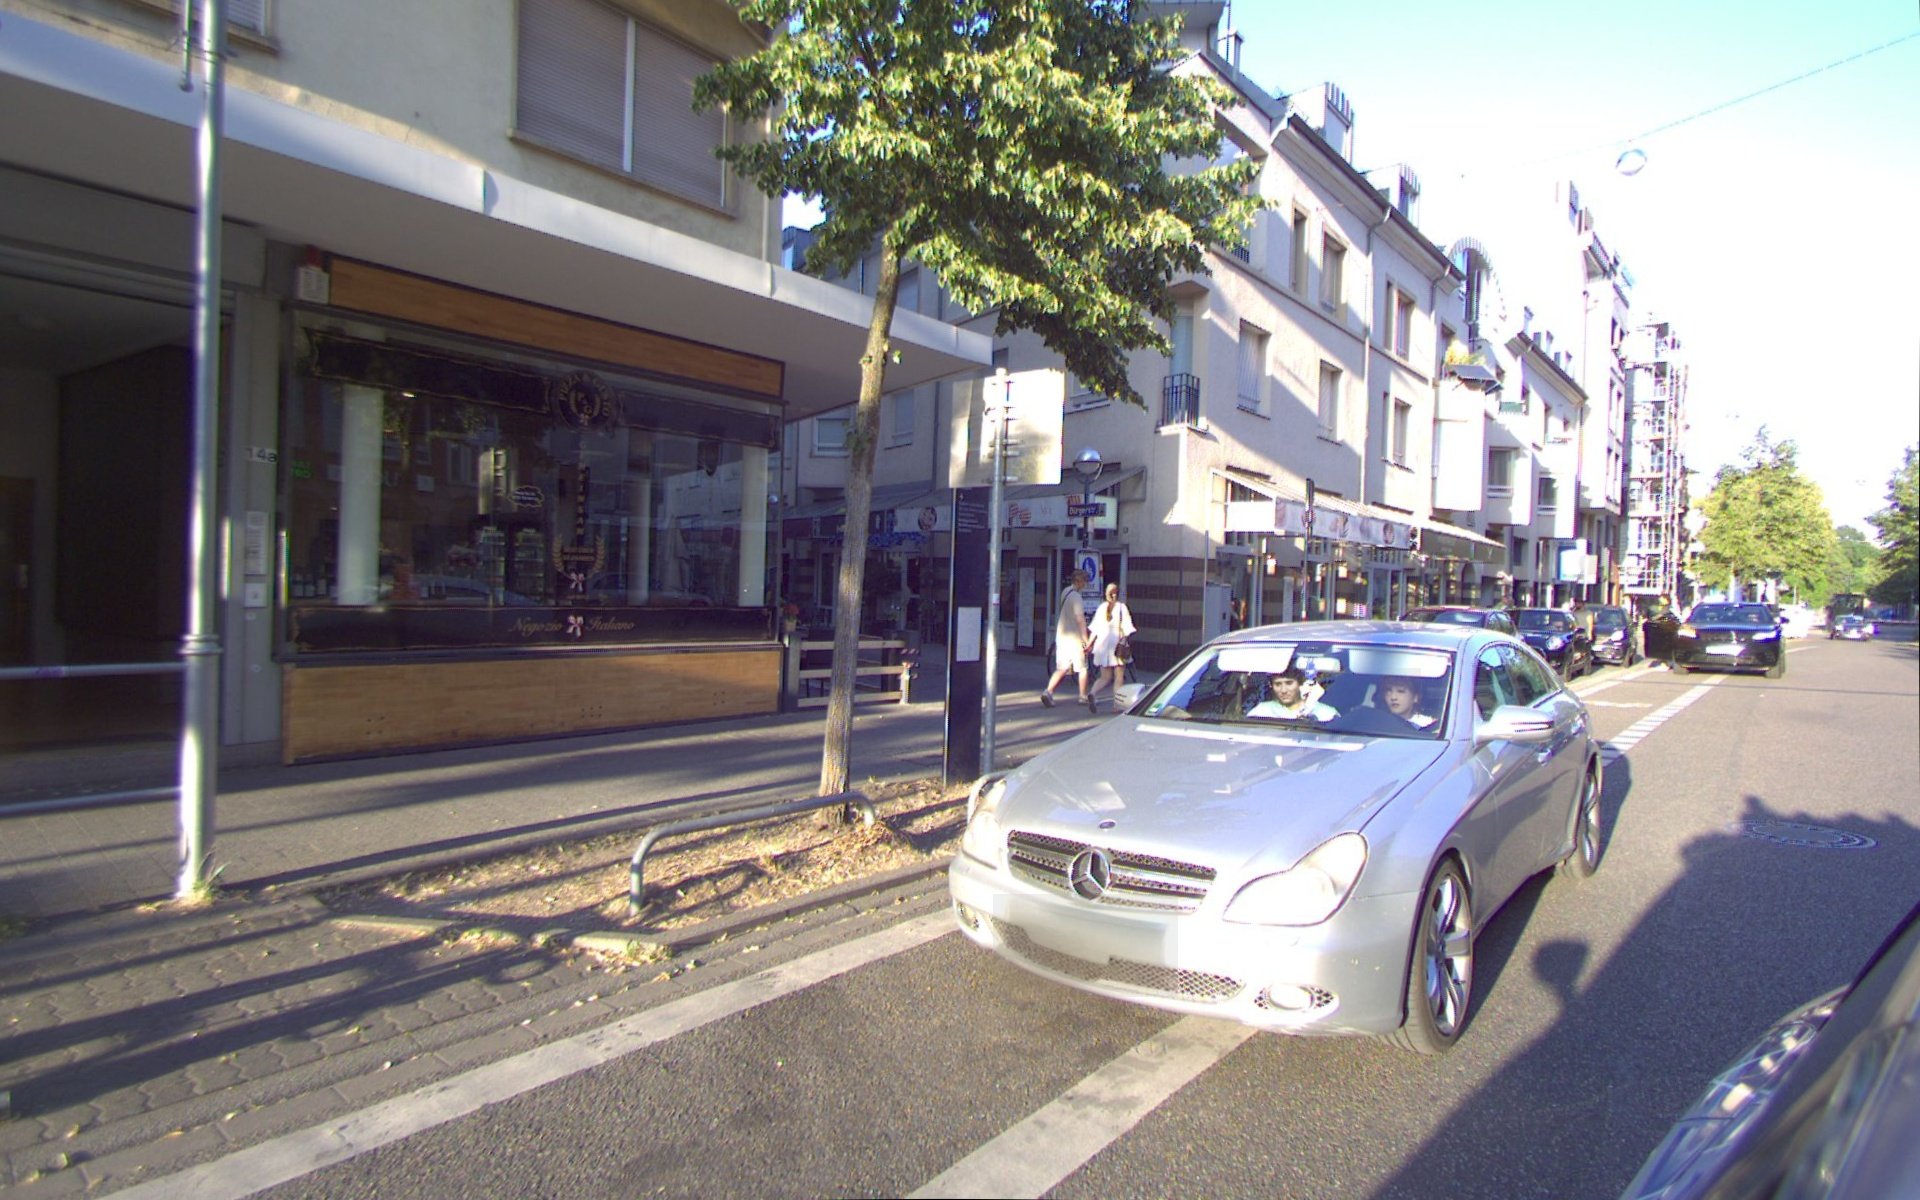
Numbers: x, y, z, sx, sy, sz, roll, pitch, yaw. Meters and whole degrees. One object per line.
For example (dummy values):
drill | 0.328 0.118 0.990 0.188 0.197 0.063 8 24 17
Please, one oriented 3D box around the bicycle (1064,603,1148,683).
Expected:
bicycle | 2.249 0.623 15.416 0.290 1.118 1.859 2 1 41

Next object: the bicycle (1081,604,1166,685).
bicycle | 2.478 0.638 15.200 0.320 1.118 1.851 2 1 41

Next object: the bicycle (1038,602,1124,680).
bicycle | 1.905 0.603 15.718 0.320 1.118 1.851 2 1 41

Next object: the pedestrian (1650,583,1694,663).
pedestrian | 17.219 0.548 24.475 0.776 1.907 0.660 -2 -2 41

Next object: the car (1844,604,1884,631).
car | 52.237 0.962 58.539 1.616 1.492 3.634 0 0 41

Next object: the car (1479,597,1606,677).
car | 12.207 0.701 21.101 1.615 1.452 3.868 3 2 40

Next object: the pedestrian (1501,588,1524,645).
pedestrian | 17.843 0.517 32.688 0.574 1.823 0.443 0 0 42

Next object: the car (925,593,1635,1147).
car | 1.996 0.699 5.005 1.740 1.418 4.572 2 2 40

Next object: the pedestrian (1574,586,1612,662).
pedestrian | 15.210 0.557 24.319 0.629 1.771 0.660 3 2 41

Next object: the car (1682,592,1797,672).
car | 17.925 0.671 23.197 1.884 1.656 4.165 0 0 41

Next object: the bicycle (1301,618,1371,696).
bicycle | 5.551 0.811 14.893 0.314 1.059 1.638 3 2 43

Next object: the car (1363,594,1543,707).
car | 7.761 0.689 15.756 1.587 1.451 3.868 4 2 40

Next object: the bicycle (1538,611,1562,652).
bicycle | 16.329 0.862 27.993 0.295 1.099 1.441 1 1 41

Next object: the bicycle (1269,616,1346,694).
bicycle | 5.201 0.786 15.065 0.314 1.059 1.853 3 2 43

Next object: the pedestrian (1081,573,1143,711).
pedestrian | 1.851 0.493 12.347 0.519 1.612 0.402 5 3 41

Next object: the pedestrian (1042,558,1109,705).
pedestrian | 1.457 0.378 12.772 0.543 1.779 0.495 5 3 41

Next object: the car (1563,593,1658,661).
car | 17.168 0.660 26.641 1.615 1.612 3.868 2 1 40

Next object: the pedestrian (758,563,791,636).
pedestrian | -4.470 -0.026 24.372 0.688 1.696 0.799 2 2 -13

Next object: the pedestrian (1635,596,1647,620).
pedestrian | 36.196 0.406 53.815 0.490 1.279 0.415 0 0 42
